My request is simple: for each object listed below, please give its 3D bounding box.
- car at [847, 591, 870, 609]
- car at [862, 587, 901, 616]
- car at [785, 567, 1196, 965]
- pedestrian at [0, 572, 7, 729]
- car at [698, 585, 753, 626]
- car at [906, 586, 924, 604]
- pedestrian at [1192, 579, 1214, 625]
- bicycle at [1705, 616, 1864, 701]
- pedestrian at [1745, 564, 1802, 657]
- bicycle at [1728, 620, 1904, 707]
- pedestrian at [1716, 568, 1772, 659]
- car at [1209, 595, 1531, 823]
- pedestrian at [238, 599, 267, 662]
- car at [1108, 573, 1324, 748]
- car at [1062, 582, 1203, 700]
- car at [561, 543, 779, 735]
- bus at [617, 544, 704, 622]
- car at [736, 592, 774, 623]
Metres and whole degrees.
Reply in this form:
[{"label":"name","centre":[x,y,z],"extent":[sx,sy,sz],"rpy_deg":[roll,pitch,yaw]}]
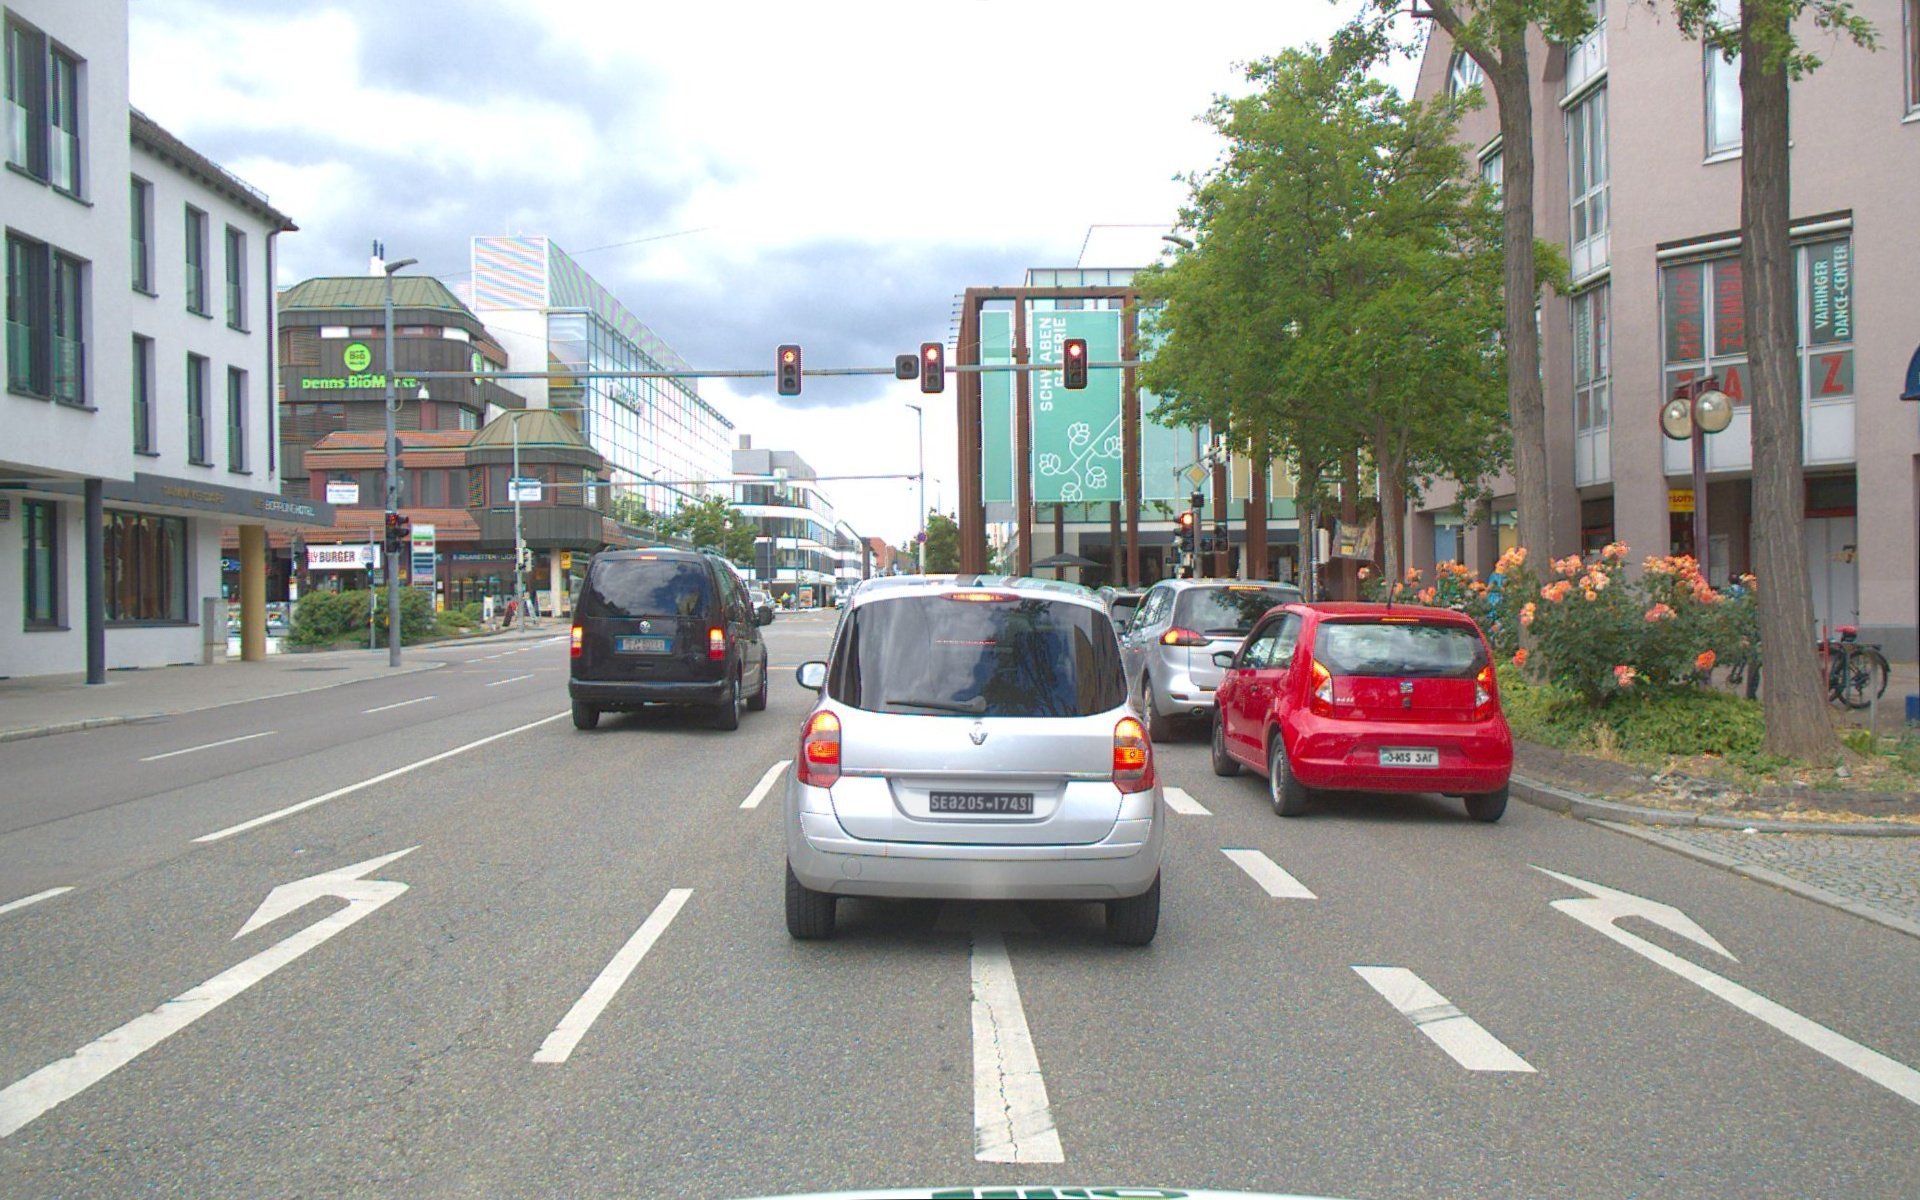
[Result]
[{"label":"car","centre":[-8.993,0.001,147.194],"extent":[1.764,1.567,4.065],"rpy_deg":[0,0,0]},{"label":"car","centre":[-4.702,0.073,99.214],"extent":[1.877,1.706,4.244],"rpy_deg":[0,0,4]},{"label":"car","centre":[0.092,0.647,8.219],"extent":[1.606,1.554,3.393],"rpy_deg":[1,0,-1]},{"label":"pedestrian","centre":[-11.280,0.584,18.765],"extent":[0.557,1.806,0.646],"rpy_deg":[-1,0,-4]},{"label":"car","centre":[-10.198,0.203,72.164],"extent":[1.953,1.735,4.063],"rpy_deg":[0,0,-2]},{"label":"car","centre":[-4.934,-0.562,179.859],"extent":[1.953,1.983,4.949],"rpy_deg":[0,0,-2]},{"label":"pedestrian","centre":[8.915,0.071,60.704],"extent":[0.641,1.679,0.557],"rpy_deg":[-1,0,-15]},{"label":"bicycle","centre":[10.234,0.721,20.558],"extent":[1.731,1.014,0.447],"rpy_deg":[-1,0,3]},{"label":"pedestrian","centre":[14.084,0.173,28.641],"extent":[0.653,1.591,0.617],"rpy_deg":[0,0,-23]},{"label":"bicycle","centre":[10.341,0.759,20.006],"extent":[1.861,1.014,0.468],"rpy_deg":[-1,0,3]},{"label":"pedestrian","centre":[13.418,0.221,28.319],"extent":[0.601,1.542,0.617],"rpy_deg":[0,0,-23]},{"label":"car","centre":[2.960,0.717,12.594],"extent":[1.554,1.468,3.348],"rpy_deg":[1,0,-1]},{"label":"pedestrian","centre":[-19.345,0.819,45.230],"extent":[0.693,1.687,0.934],"rpy_deg":[-1,0,-22]},{"label":"car","centre":[2.660,0.575,18.000],"extent":[1.555,1.662,3.914],"rpy_deg":[1,0,-3]},{"label":"car","centre":[2.550,0.565,25.175],"extent":[1.555,1.623,3.866],"rpy_deg":[1,0,-3]},{"label":"car","centre":[-3.135,0.374,18.745],"extent":[1.709,1.887,4.633],"rpy_deg":[1,0,-1]},{"label":"bus","centre":[-13.472,-0.747,75.098],"extent":[2.633,3.318,8.650],"rpy_deg":[0,0,-2]},{"label":"car","centre":[-9.887,0.346,79.974],"extent":[1.524,1.417,3.286],"rpy_deg":[0,0,-2]}]
